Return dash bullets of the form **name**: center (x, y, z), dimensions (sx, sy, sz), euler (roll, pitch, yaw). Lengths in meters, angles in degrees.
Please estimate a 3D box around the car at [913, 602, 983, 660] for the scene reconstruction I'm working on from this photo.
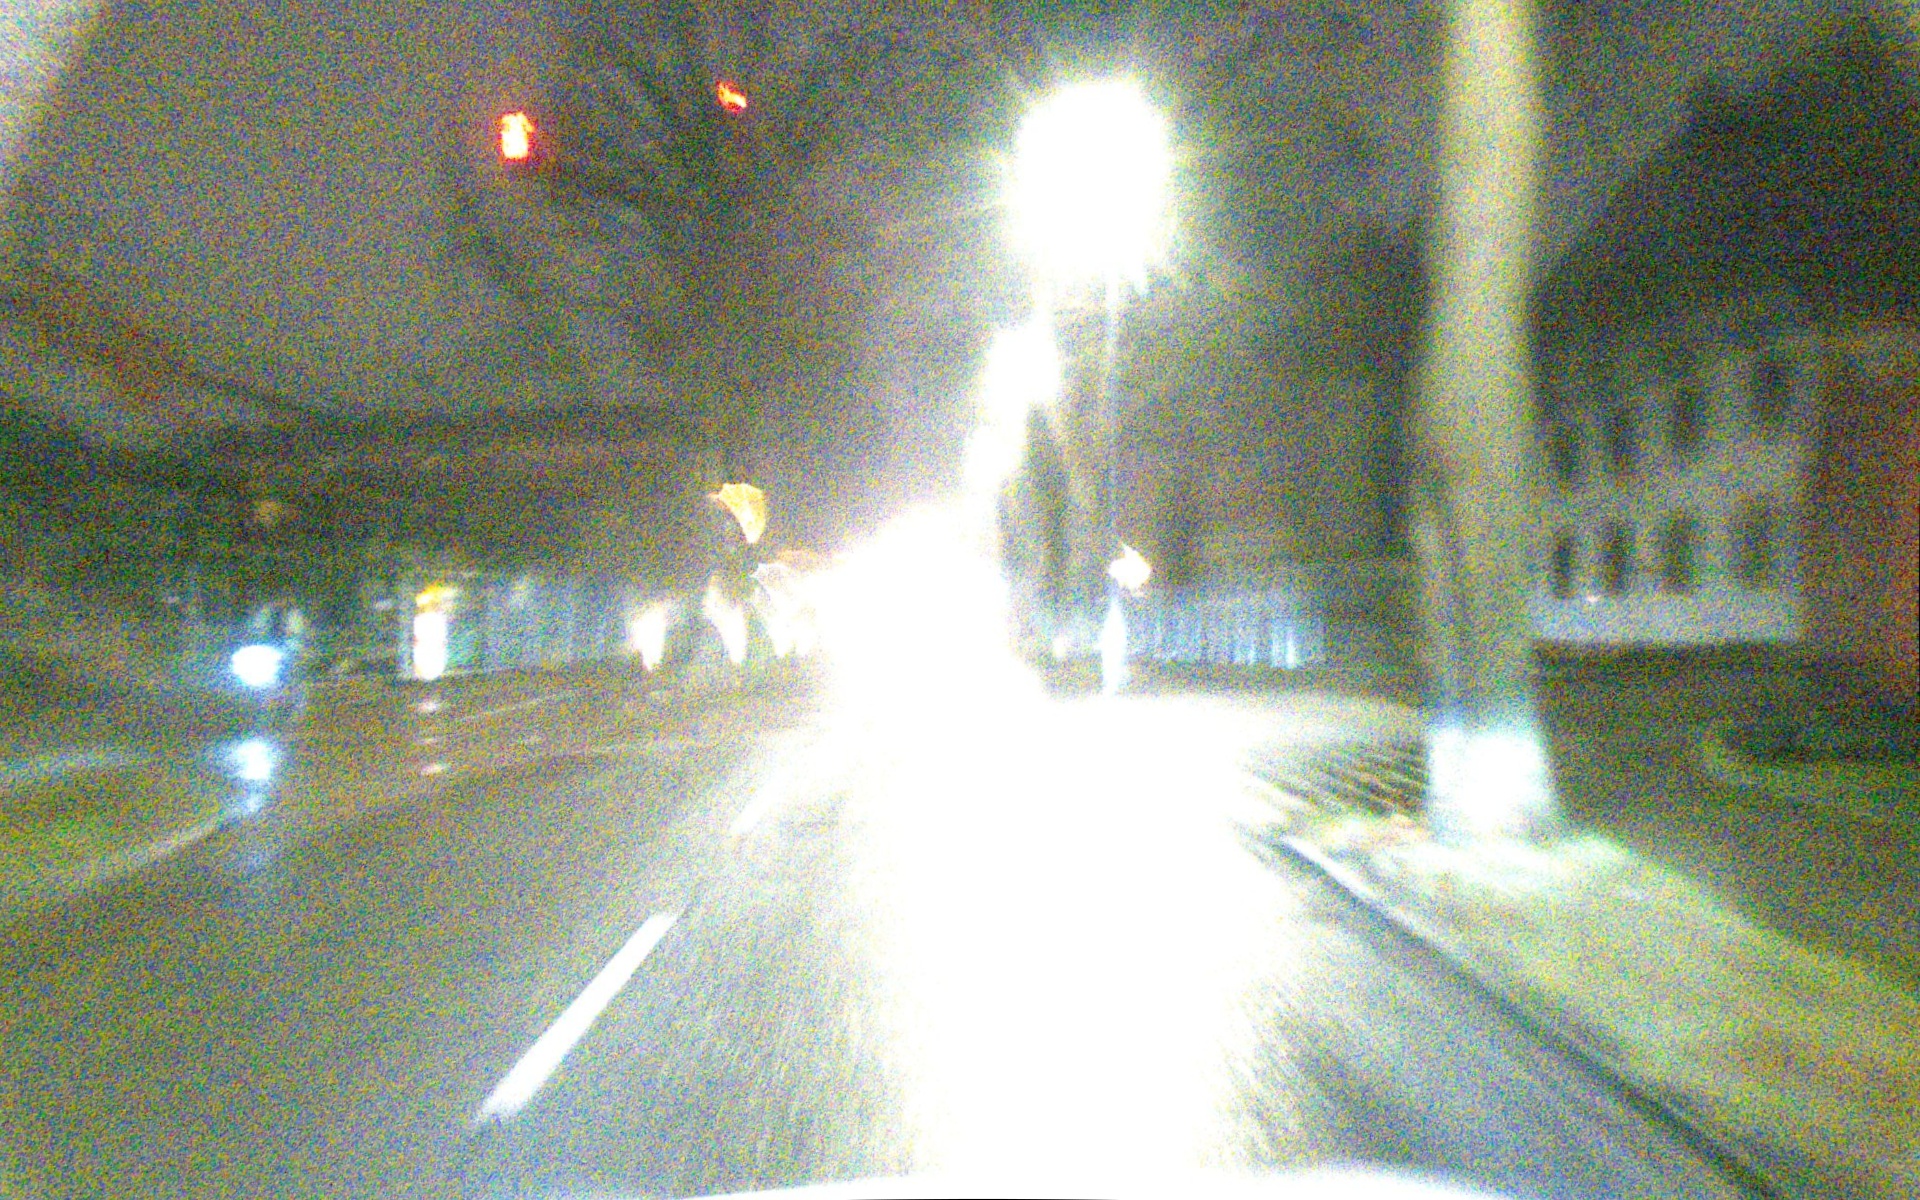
- **car**: center (-0.421, 0.935, 52.199), dimensions (1.954, 1.713, 3.997), euler (1, 0, -3)

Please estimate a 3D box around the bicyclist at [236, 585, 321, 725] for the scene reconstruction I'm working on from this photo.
- **bicyclist**: center (-8.349, 0.653, 20.295), dimensions (0.623, 1.622, 0.960), euler (2, 2, -2)

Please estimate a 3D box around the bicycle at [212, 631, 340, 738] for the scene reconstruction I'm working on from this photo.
- **bicycle**: center (-8.397, 1.001, 20.416), dimensions (0.617, 1.181, 2.313), euler (2, 0, -1)
